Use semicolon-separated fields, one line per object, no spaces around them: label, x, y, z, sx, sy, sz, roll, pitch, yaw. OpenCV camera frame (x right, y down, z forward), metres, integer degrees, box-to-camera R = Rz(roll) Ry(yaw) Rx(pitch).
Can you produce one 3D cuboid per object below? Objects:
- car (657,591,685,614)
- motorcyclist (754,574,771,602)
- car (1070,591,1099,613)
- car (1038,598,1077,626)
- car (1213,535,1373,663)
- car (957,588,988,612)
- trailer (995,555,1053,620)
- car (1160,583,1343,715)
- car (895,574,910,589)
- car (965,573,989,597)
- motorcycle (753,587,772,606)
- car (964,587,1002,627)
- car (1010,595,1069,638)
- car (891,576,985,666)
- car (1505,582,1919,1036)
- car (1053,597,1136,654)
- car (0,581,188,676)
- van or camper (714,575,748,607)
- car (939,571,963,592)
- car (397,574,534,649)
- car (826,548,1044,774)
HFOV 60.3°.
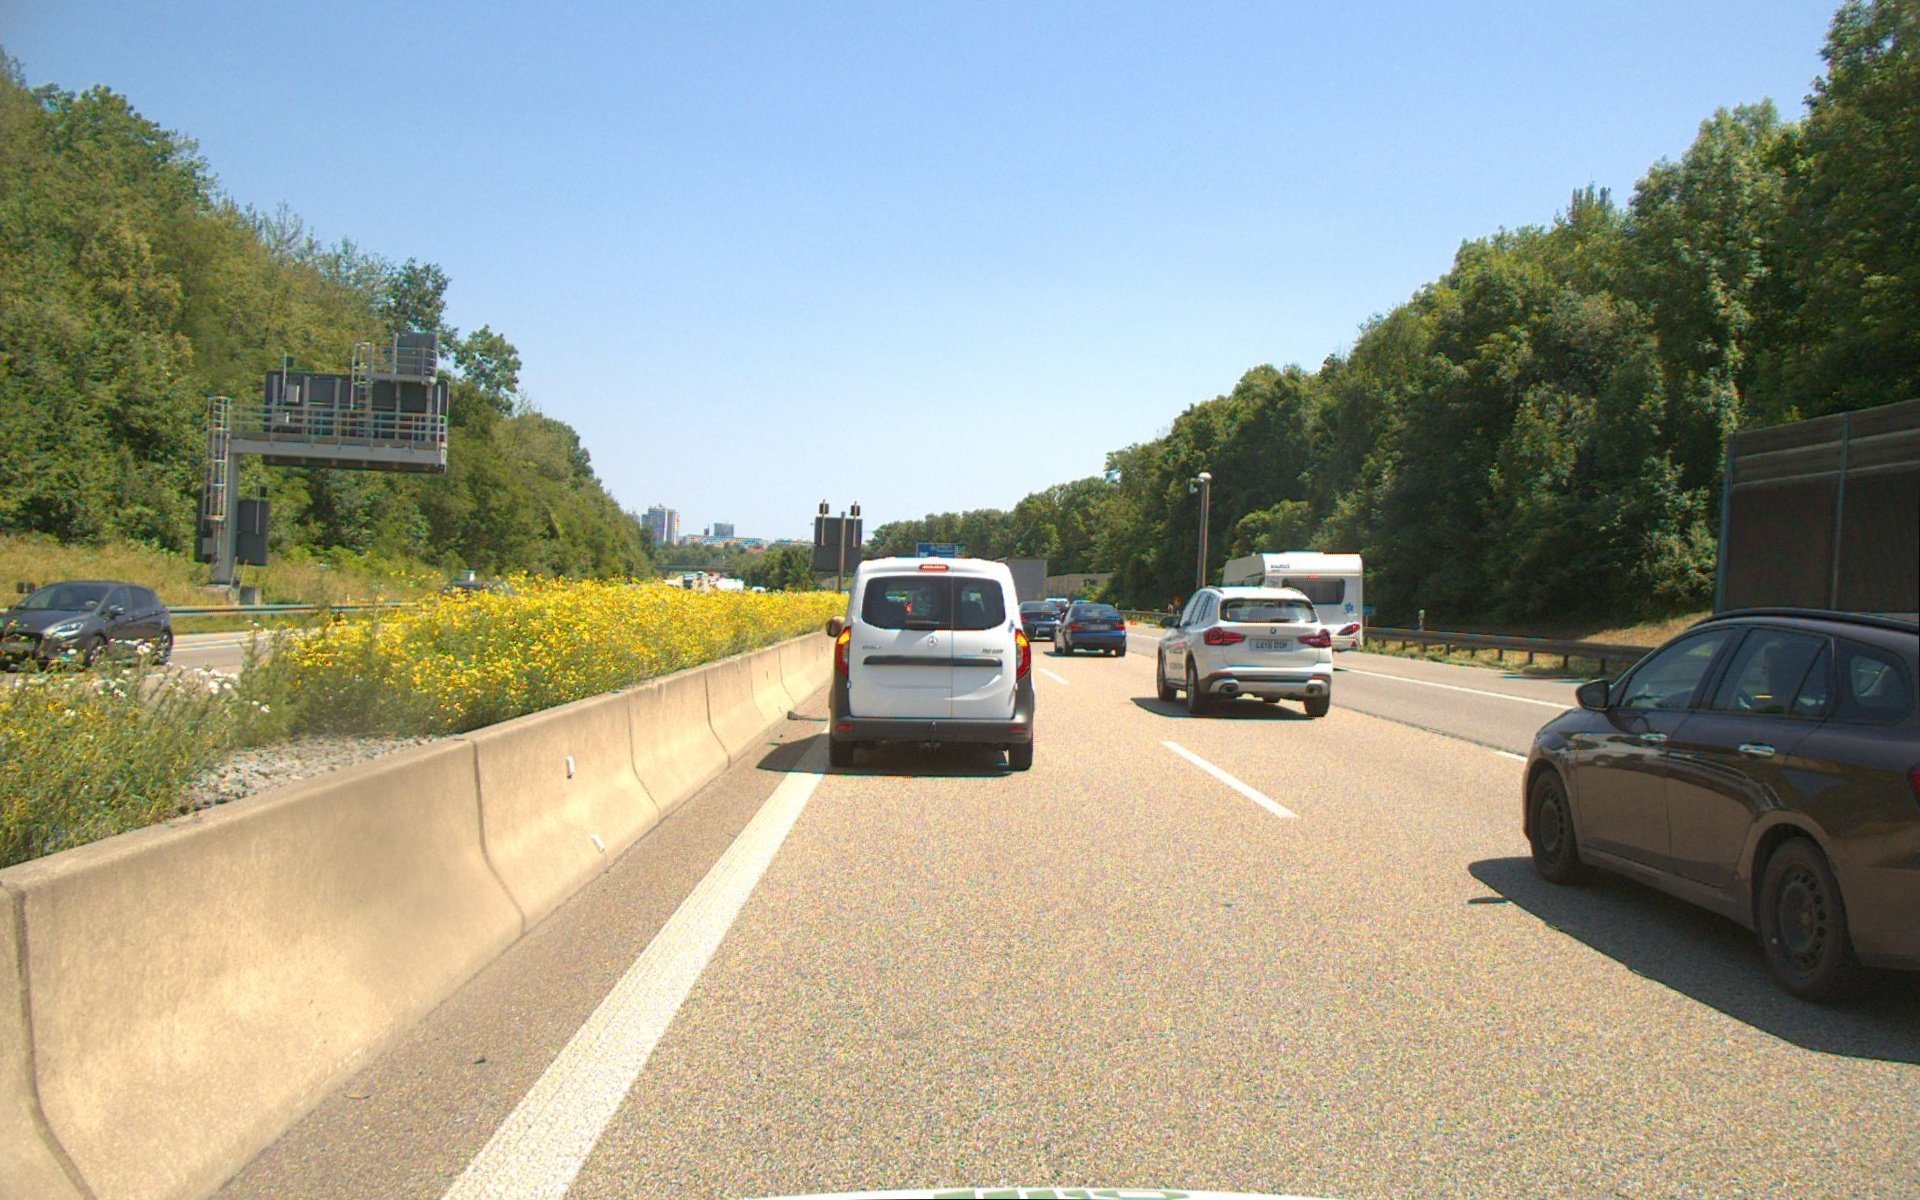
car;-22.386;0.184;128.126;1.721;1.725;4.418;1;0;-5
motorcyclist;-13.097;-0.784;109.817;1.010;1.817;1.283;1;0;-2
car;9.270;0.129;123.074;1.752;1.545;3.999;1;0;-1
car;5.260;0.628;89.822;1.787;1.449;3.999;1;0;-2
car;7.874;-0.035;39.867;2.429;2.814;6.218;1;0;-2
car;0.778;-0.017;105.132;1.787;1.472;3.999;1;0;-2
trailer;4.088;-0.788;108.162;3.019;4.055;10.319;1;0;-2
car;3.955;0.604;23.056;1.833;1.636;3.879;1;1;0
car;-8.052;-2.558;231.045;1.953;2.049;3.999;1;0;-2
car;1.436;-1.265;142.703;1.953;2.049;3.999;1;0;-1
motorcycle;-13.096;-0.261;109.850;1.019;1.236;2.613;1;0;-1
car;1.182;0.338;85.552;1.787;2.024;3.999;1;0;-2
car;2.813;0.556;58.907;1.787;1.449;3.999;1;0;-2
car;-0.516;0.441;36.956;1.953;1.892;3.999;1;0;-2
car;4.151;0.711;7.514;1.801;1.539;4.401;1;1;-1
car;3.577;0.651;44.683;1.787;1.449;3.999;1;0;-2
car;-14.936;0.430;27.938;1.953;1.469;4.006;1;0;-1
van or camper;-20.046;-0.791;145.147;2.262;2.682;7.395;1;0;-3
car;-0.876;-1.778;159.296;1.955;2.049;3.996;1;0;-5
car;-11.280;0.239;38.018;1.953;1.600;4.064;1;0;-1
car;-0.281;0.492;15.606;1.766;1.839;3.998;1;0;-2
